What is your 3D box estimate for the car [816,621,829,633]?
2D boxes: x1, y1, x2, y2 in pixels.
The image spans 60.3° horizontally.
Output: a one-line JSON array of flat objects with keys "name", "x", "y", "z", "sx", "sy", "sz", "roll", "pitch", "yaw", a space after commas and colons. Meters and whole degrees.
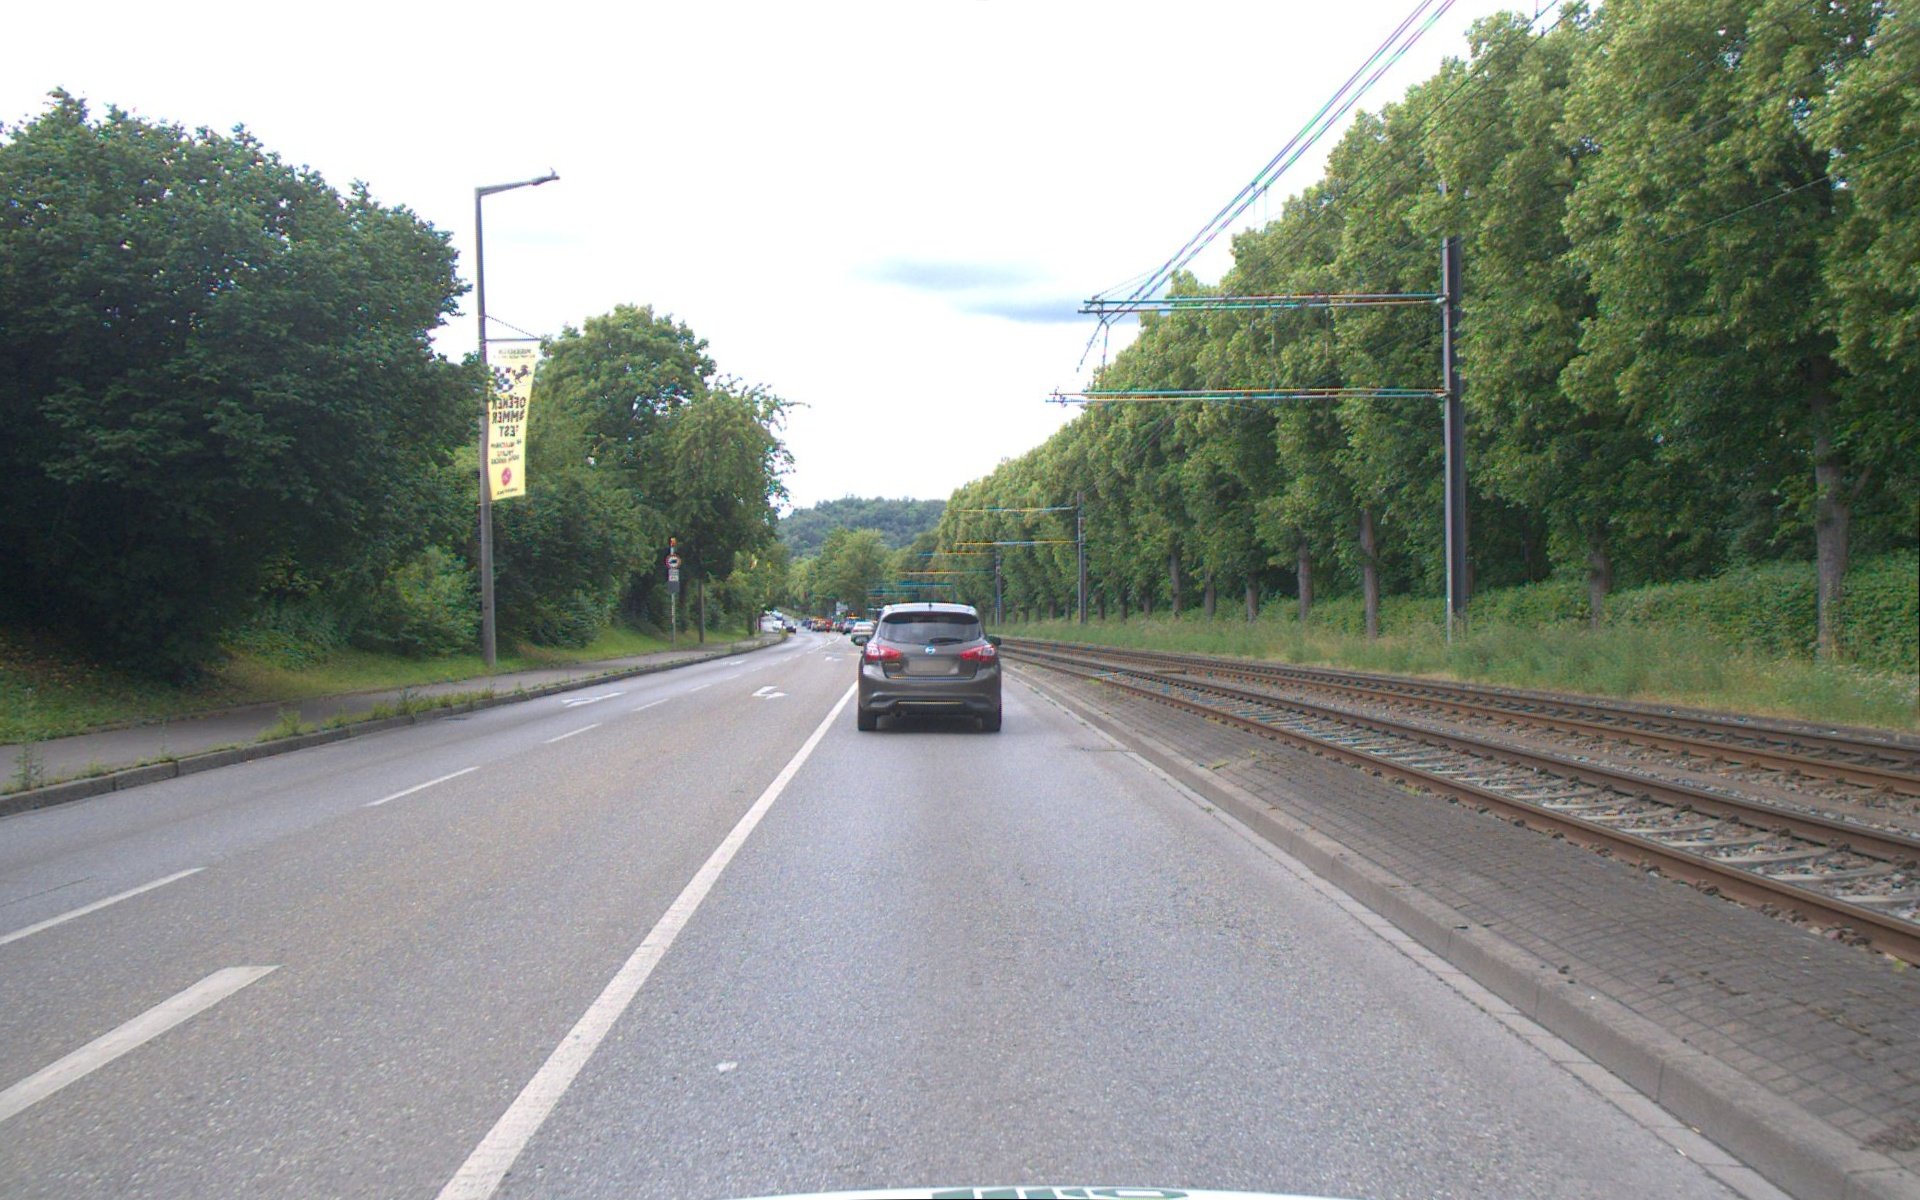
[{"name": "car", "x": -20.540, "y": 3.996, "z": 247.160, "sx": 1.666, "sy": 1.744, "sz": 3.997, "roll": 0, "pitch": -1, "yaw": -3}]

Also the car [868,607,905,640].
[{"name": "car", "x": -3.419, "y": 1.107, "z": 76.648, "sx": 1.666, "sy": 1.469, "sz": 3.997, "roll": 0, "pitch": -1, "yaw": -3}]

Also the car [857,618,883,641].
[{"name": "car", "x": -6.040, "y": 1.992, "z": 111.227, "sx": 1.666, "sy": 1.469, "sz": 3.997, "roll": 0, "pitch": -1, "yaw": -3}]

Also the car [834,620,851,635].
[{"name": "car", "x": -12.514, "y": 2.927, "z": 176.396, "sx": 1.758, "sy": 1.537, "sz": 3.997, "roll": 0, "pitch": -1, "yaw": -3}]

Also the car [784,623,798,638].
[{"name": "car", "x": -24.182, "y": 4.384, "z": 236.541, "sx": 1.955, "sy": 2.072, "sz": 5.110, "roll": -1, "pitch": -1, "yaw": -5}]

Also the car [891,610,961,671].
[{"name": "car", "x": -0.904, "y": 1.024, "z": 42.208, "sx": 1.666, "sy": 1.469, "sz": 3.997, "roll": 0, "pitch": -1, "yaw": -3}]

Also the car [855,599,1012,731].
[{"name": "car", "x": -0.351, "y": 0.760, "z": 21.161, "sx": 1.813, "sy": 1.519, "sz": 3.999, "roll": 0, "pitch": 0, "yaw": -1}]
